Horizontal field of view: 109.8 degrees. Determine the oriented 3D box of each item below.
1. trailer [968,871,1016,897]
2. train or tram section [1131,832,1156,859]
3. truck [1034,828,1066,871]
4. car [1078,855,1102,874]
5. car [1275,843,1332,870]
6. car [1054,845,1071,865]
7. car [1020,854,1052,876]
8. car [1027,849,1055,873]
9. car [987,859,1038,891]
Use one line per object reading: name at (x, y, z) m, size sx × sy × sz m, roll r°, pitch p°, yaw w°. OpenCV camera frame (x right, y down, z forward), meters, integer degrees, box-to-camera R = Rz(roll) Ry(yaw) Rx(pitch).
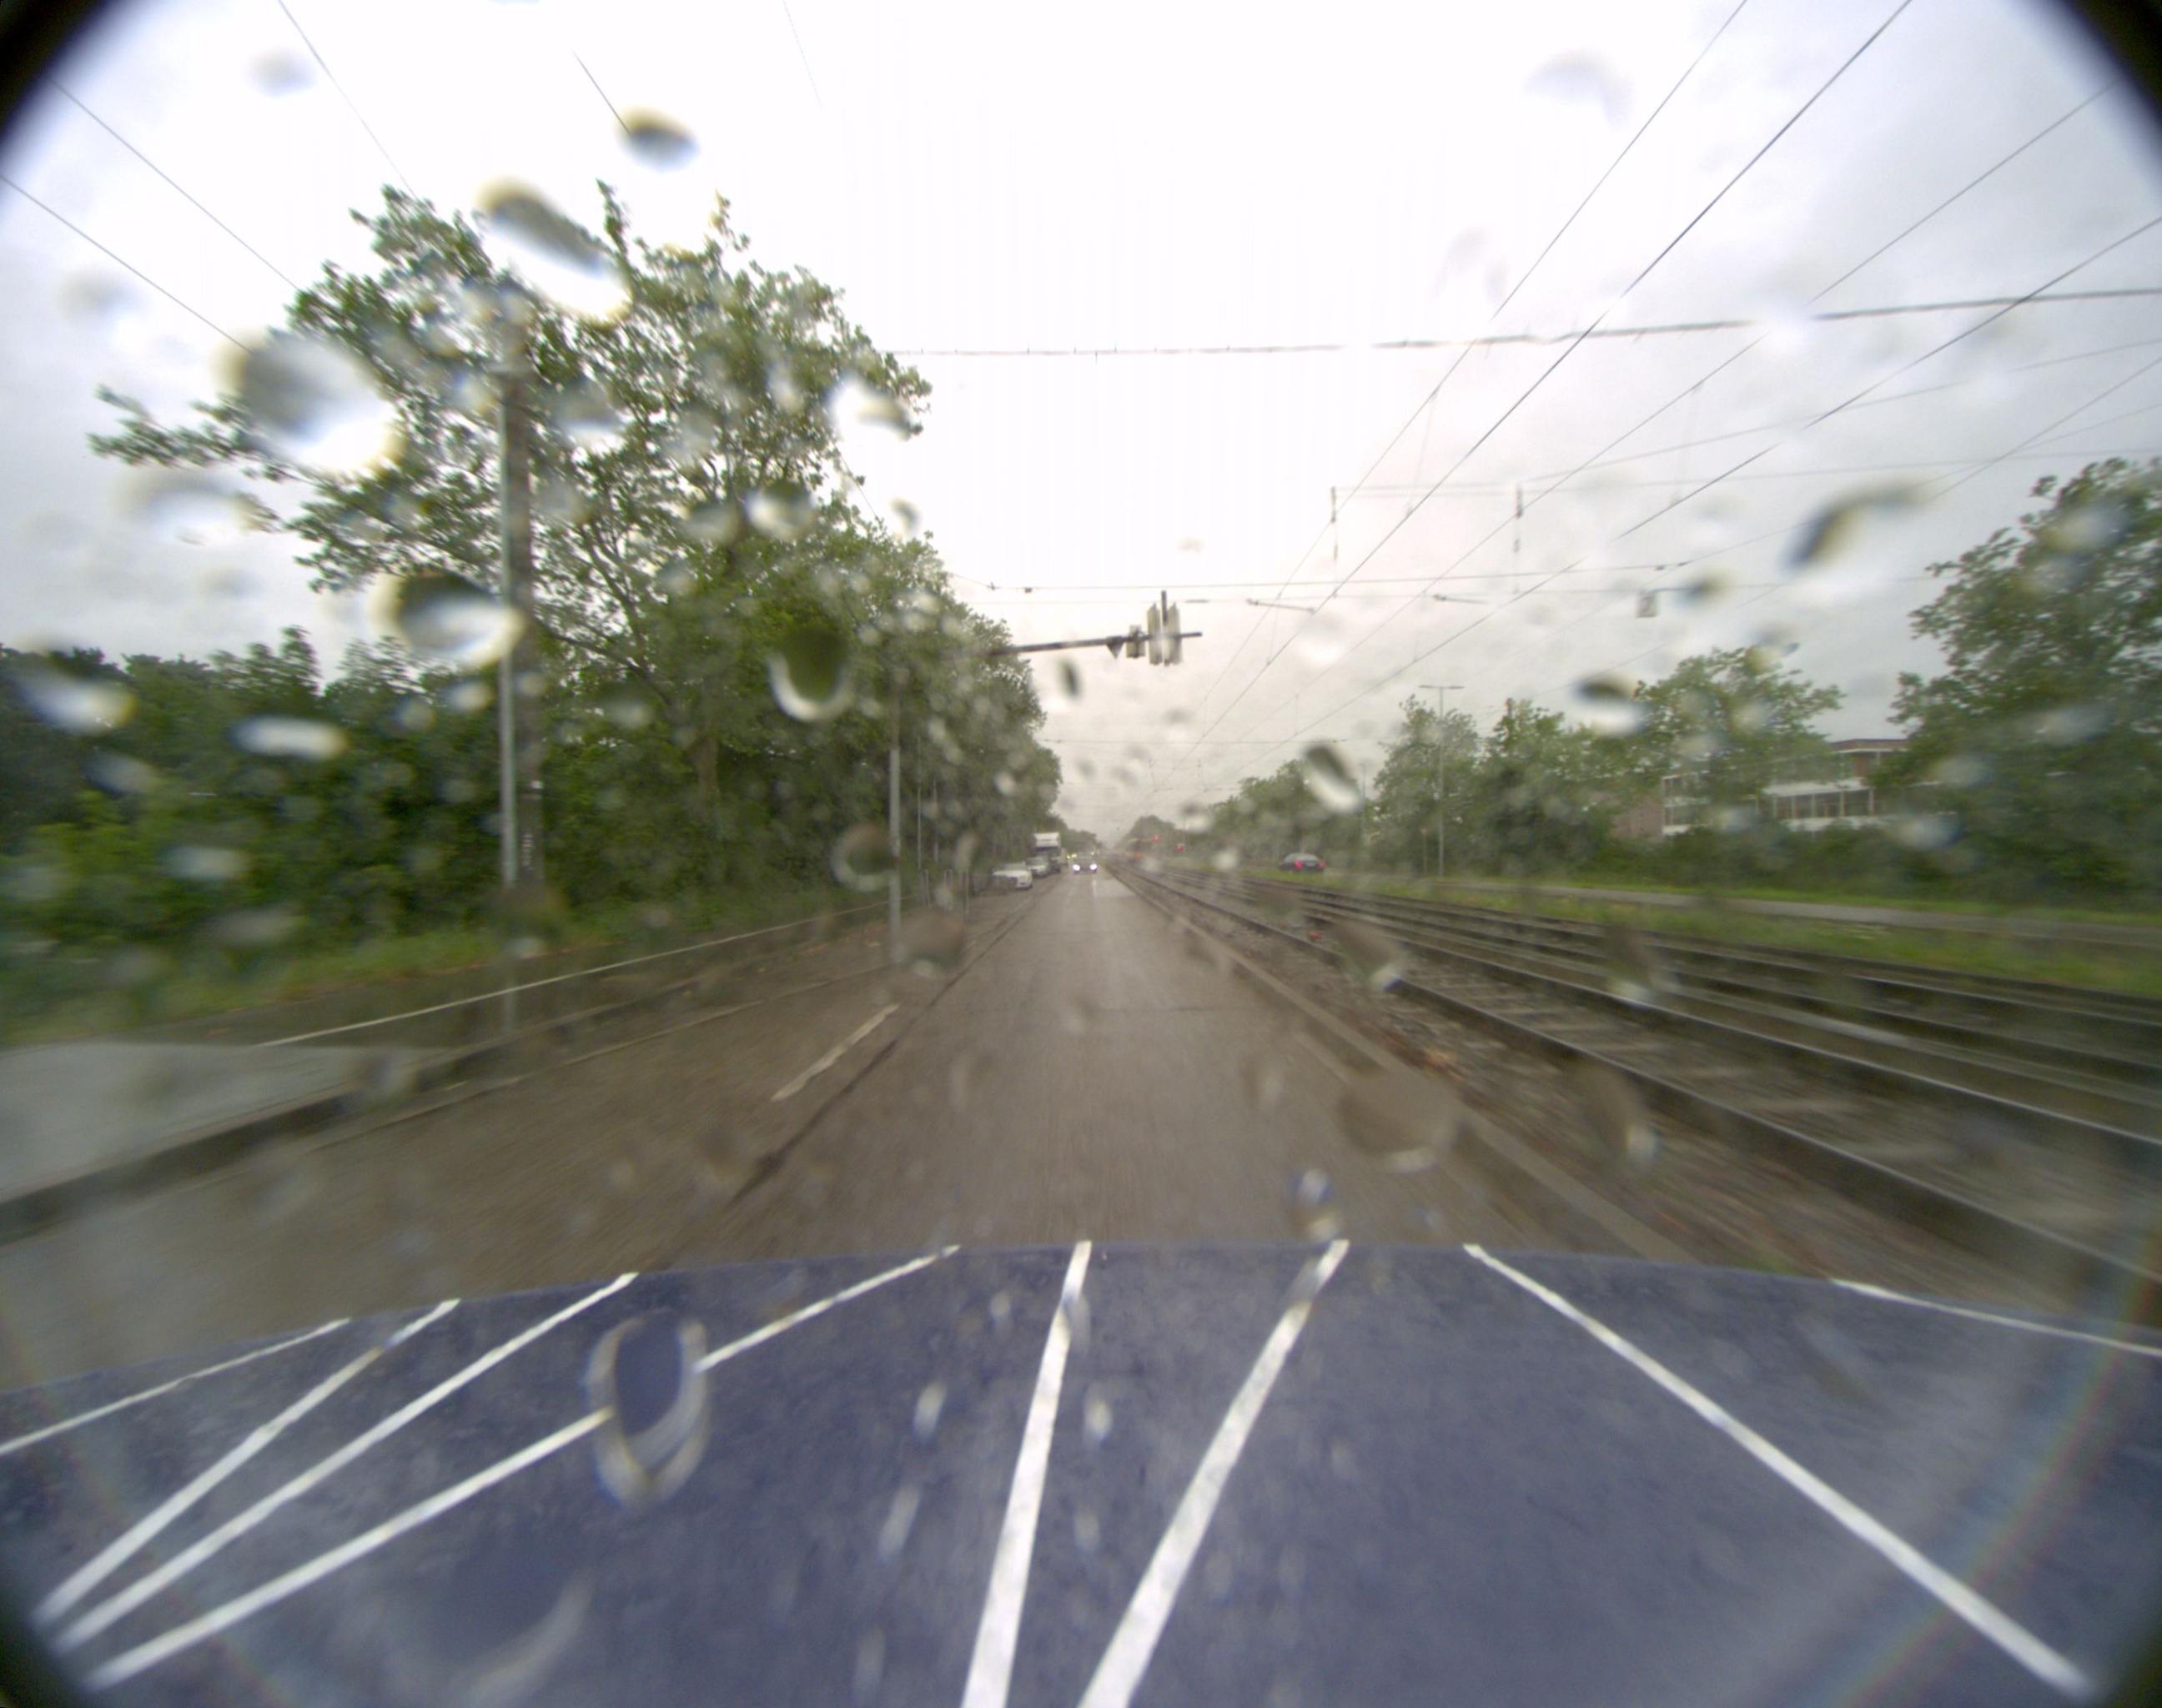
trailer at (-3.670, 1.237, 31.660) m, size 1.546 × 0.931 × 3.276 m, roll -2°, pitch 0°, yaw 1°
train or tram section at (9.004, -1.313, 111.167) m, size 2.460 × 3.603 × 15.104 m, roll -2°, pitch 1°, yaw 1°
truck at (-2.894, -0.396, 72.860) m, size 2.567 × 3.847 × 7.846 m, roll -2°, pitch 0°, yaw 1°
car at (0.781, 0.932, 65.981) m, size 1.998 × 1.497 × 4.196 m, roll -2°, pitch 0°, yaw 1°
car at (13.546, 0.106, 46.614) m, size 1.999 × 1.514 × 4.956 m, roll -2°, pitch 1°, yaw 0°
car at (-2.540, 0.183, 104.414) m, size 1.998 × 2.661 × 4.196 m, roll -2°, pitch 0°, yaw 1°
car at (-3.306, 0.795, 56.311) m, size 1.998 × 1.497 × 4.196 m, roll -2°, pitch 0°, yaw 1°
car at (-3.343, 0.568, 63.616) m, size 1.998 × 1.897 × 4.196 m, roll -2°, pitch 0°, yaw 1°
car at (-3.280, 0.967, 36.966) m, size 1.998 × 1.394 × 4.196 m, roll -2°, pitch 0°, yaw 1°
